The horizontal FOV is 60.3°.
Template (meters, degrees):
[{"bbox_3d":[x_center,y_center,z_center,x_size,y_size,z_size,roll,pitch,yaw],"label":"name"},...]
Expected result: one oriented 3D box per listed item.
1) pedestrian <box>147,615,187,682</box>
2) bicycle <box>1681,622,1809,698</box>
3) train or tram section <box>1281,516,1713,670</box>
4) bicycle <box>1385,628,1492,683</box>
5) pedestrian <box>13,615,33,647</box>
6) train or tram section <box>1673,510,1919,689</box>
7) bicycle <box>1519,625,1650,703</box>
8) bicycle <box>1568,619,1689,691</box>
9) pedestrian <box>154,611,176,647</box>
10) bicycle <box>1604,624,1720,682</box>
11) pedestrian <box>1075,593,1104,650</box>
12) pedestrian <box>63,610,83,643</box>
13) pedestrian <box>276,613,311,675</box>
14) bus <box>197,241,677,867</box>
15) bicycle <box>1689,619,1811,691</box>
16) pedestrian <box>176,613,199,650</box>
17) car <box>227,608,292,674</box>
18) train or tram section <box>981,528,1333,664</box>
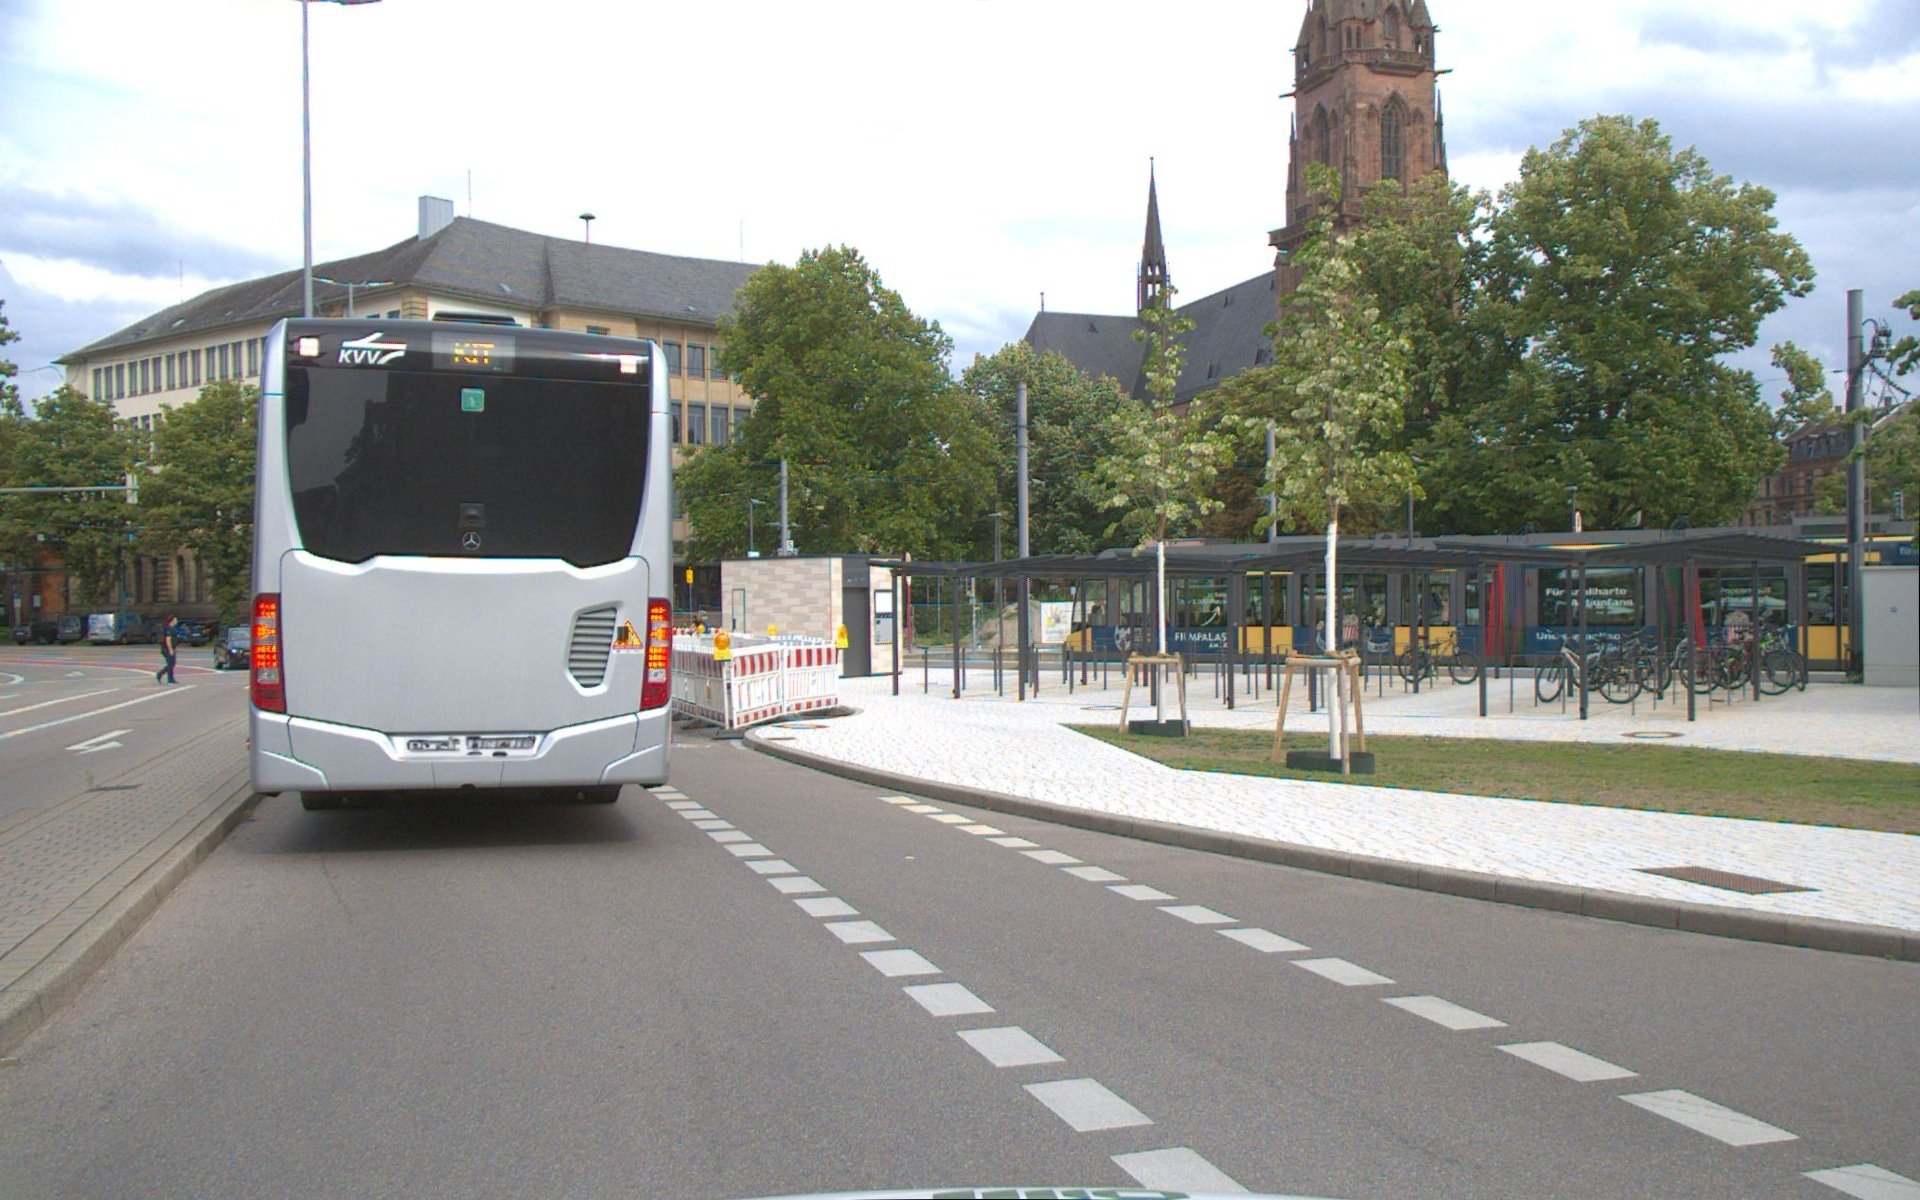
[{"bbox_3d":[-20.999,1.275,43.815,0.783,1.740,0.837,0,2,-14],"label":"pedestrian"},{"bbox_3d":[13.261,0.997,27.943,1.922,1.176,0.583,1,2,28],"label":"bicycle"},{"bbox_3d":[12.489,-0.277,39.115,9.245,3.268,3.050,1,2,37],"label":"train or tram section"},{"bbox_3d":[9.352,1.080,32.372,1.926,0.971,0.582,1,2,34],"label":"bicycle"},{"bbox_3d":[-60.712,1.989,107.184,0.883,2.049,0.992,0,0,-44],"label":"pedestrian"},{"bbox_3d":[19.985,-0.046,33.522,9.735,3.510,3.050,1,2,37],"label":"train or tram section"},{"bbox_3d":[10.153,1.024,26.921,1.922,1.176,0.583,1,2,28],"label":"bicycle"},{"bbox_3d":[11.776,0.954,29.174,1.922,1.176,0.583,1,2,28],"label":"bicycle"},{"bbox_3d":[-46.100,1.689,95.929,0.883,2.049,0.992,0,0,-44],"label":"pedestrian"},{"bbox_3d":[13.236,0.986,31.210,1.926,0.987,0.582,1,2,34],"label":"bicycle"},{"bbox_3d":[4.190,0.693,53.659,0.805,1.832,0.751,0,2,-7],"label":"pedestrian"},{"bbox_3d":[-55.722,1.659,103.869,0.883,2.049,0.992,0,0,-44],"label":"pedestrian"},{"bbox_3d":[-19.196,1.256,47.660,0.783,1.740,0.837,0,2,-14],"label":"pedestrian"},{"bbox_3d":[-5.162,-0.119,16.377,2.663,3.499,14.109,0,-1,-18],"label":"bus"},{"bbox_3d":[13.948,0.957,29.225,1.922,1.176,0.583,1,2,28],"label":"bicycle"},{"bbox_3d":[-43.790,1.764,93.749,0.883,2.049,0.992,0,0,-44],"label":"pedestrian"},{"bbox_3d":[-24.513,1.388,57.778,1.968,2.048,3.969,-1,2,-25],"label":"car"},{"bbox_3d":[5.151,-0.229,44.674,9.186,3.334,3.050,1,2,37],"label":"train or tram section"}]
